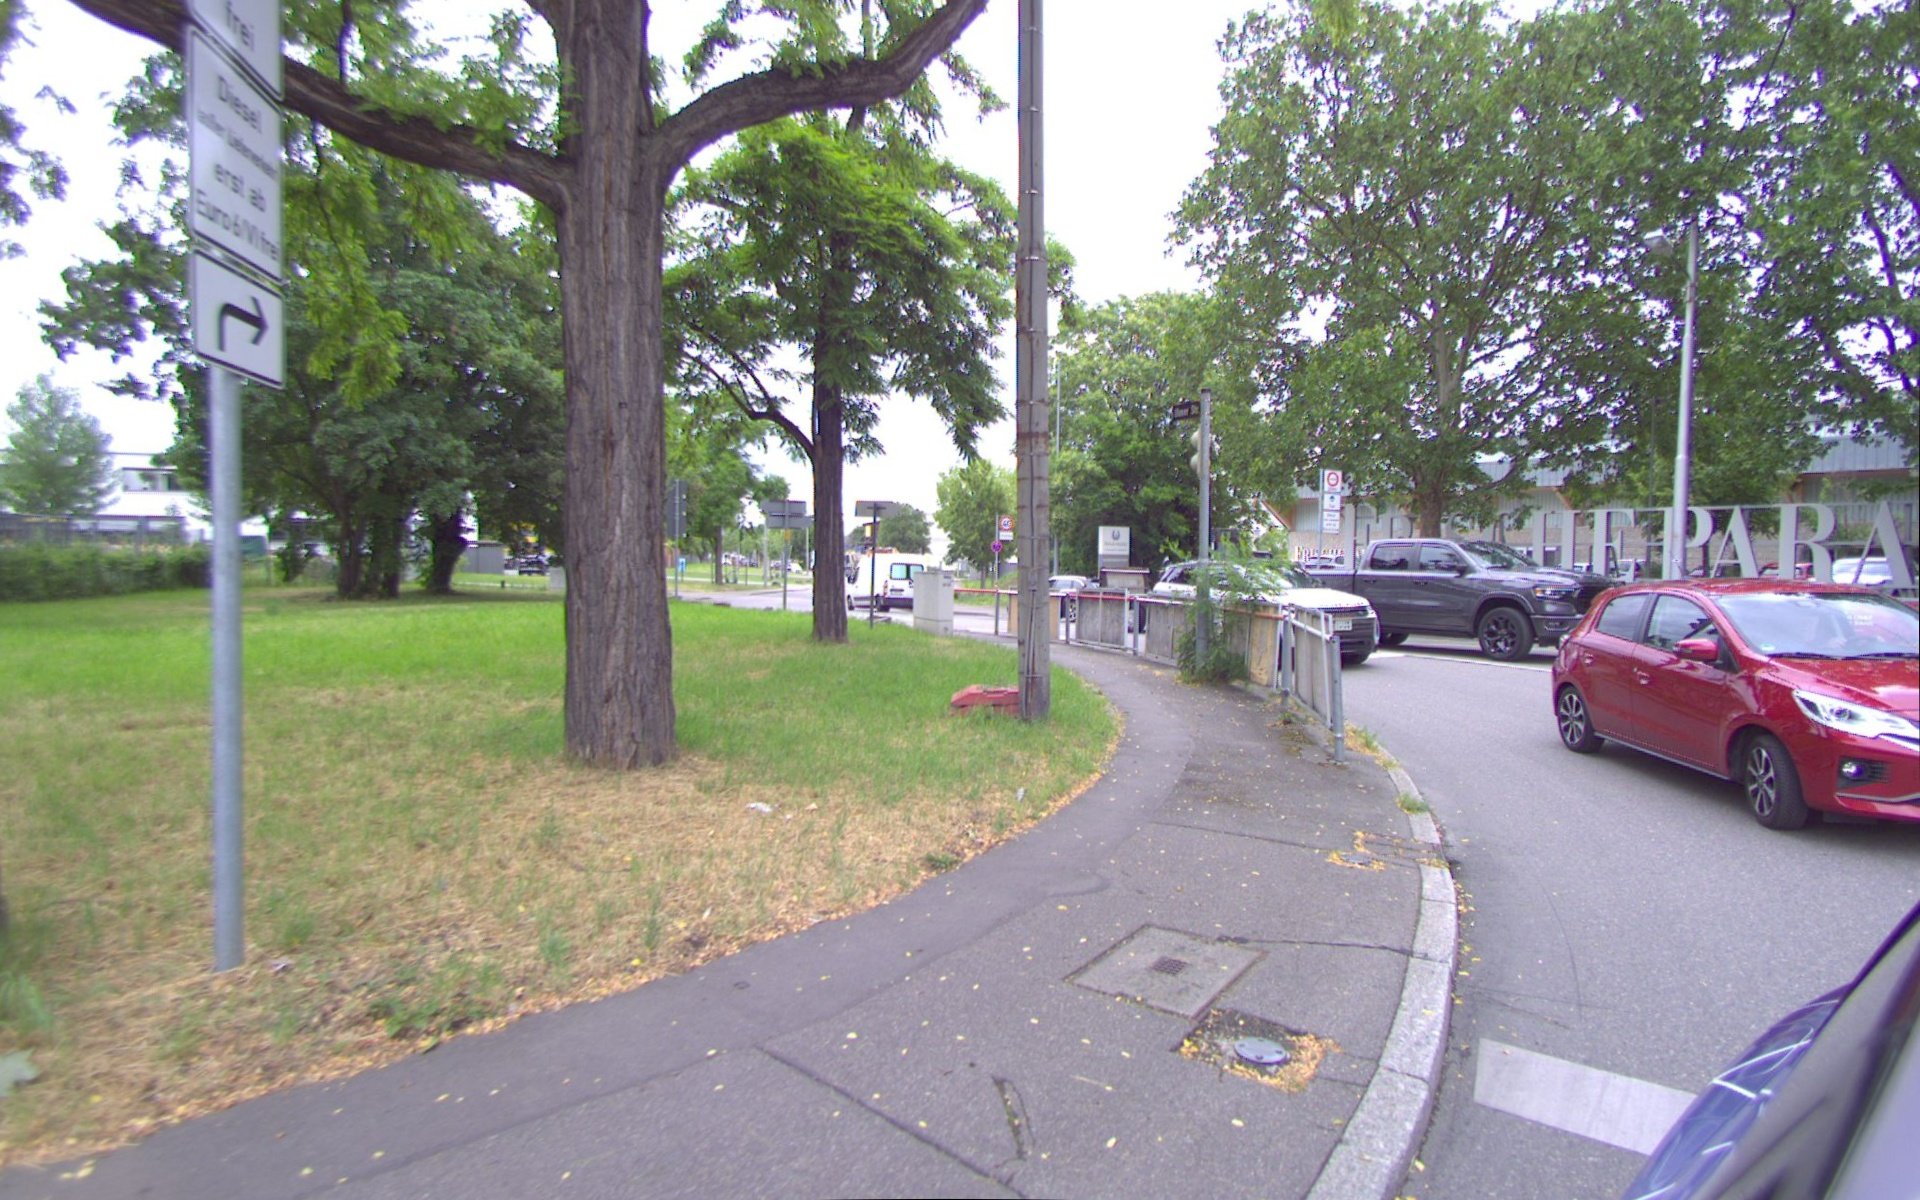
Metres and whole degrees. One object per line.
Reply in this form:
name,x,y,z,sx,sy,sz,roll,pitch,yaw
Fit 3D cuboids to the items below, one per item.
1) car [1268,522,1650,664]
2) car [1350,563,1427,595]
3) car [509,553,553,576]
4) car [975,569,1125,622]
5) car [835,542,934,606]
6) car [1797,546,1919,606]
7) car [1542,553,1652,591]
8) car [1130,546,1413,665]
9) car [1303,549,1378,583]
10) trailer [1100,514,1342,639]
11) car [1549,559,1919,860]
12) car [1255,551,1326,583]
car,8.117,-0.280,17.323,1.911,2.003,5.882,-2,4,-27
car,21.819,-1.085,51.498,3.927,1.526,1.916,-1,3,-38
car,-30.465,-2.548,72.038,1.888,1.573,4.008,1,3,-7
car,2.819,-0.169,32.950,1.961,1.476,5.223,5,-2,-34
car,-3.460,-1.077,44.811,2.148,2.573,6.493,-2,0,-25
car,25.018,-0.670,27.431,4.606,1.475,2.002,-3,0,-29
car,27.515,-1.230,43.662,5.150,1.449,1.939,-3,0,-32
car,4.771,0.064,16.116,1.879,1.589,4.117,-3,1,-29
car,20.284,-1.806,53.914,3.927,1.721,1.916,-1,3,-38
trailer,5.526,-0.560,22.320,2.107,2.417,5.398,0,2,-27
car,5.843,0.505,7.001,1.738,1.549,3.733,-1,2,8
car,18.585,-1.830,56.808,3.927,1.721,1.916,-1,3,-38
